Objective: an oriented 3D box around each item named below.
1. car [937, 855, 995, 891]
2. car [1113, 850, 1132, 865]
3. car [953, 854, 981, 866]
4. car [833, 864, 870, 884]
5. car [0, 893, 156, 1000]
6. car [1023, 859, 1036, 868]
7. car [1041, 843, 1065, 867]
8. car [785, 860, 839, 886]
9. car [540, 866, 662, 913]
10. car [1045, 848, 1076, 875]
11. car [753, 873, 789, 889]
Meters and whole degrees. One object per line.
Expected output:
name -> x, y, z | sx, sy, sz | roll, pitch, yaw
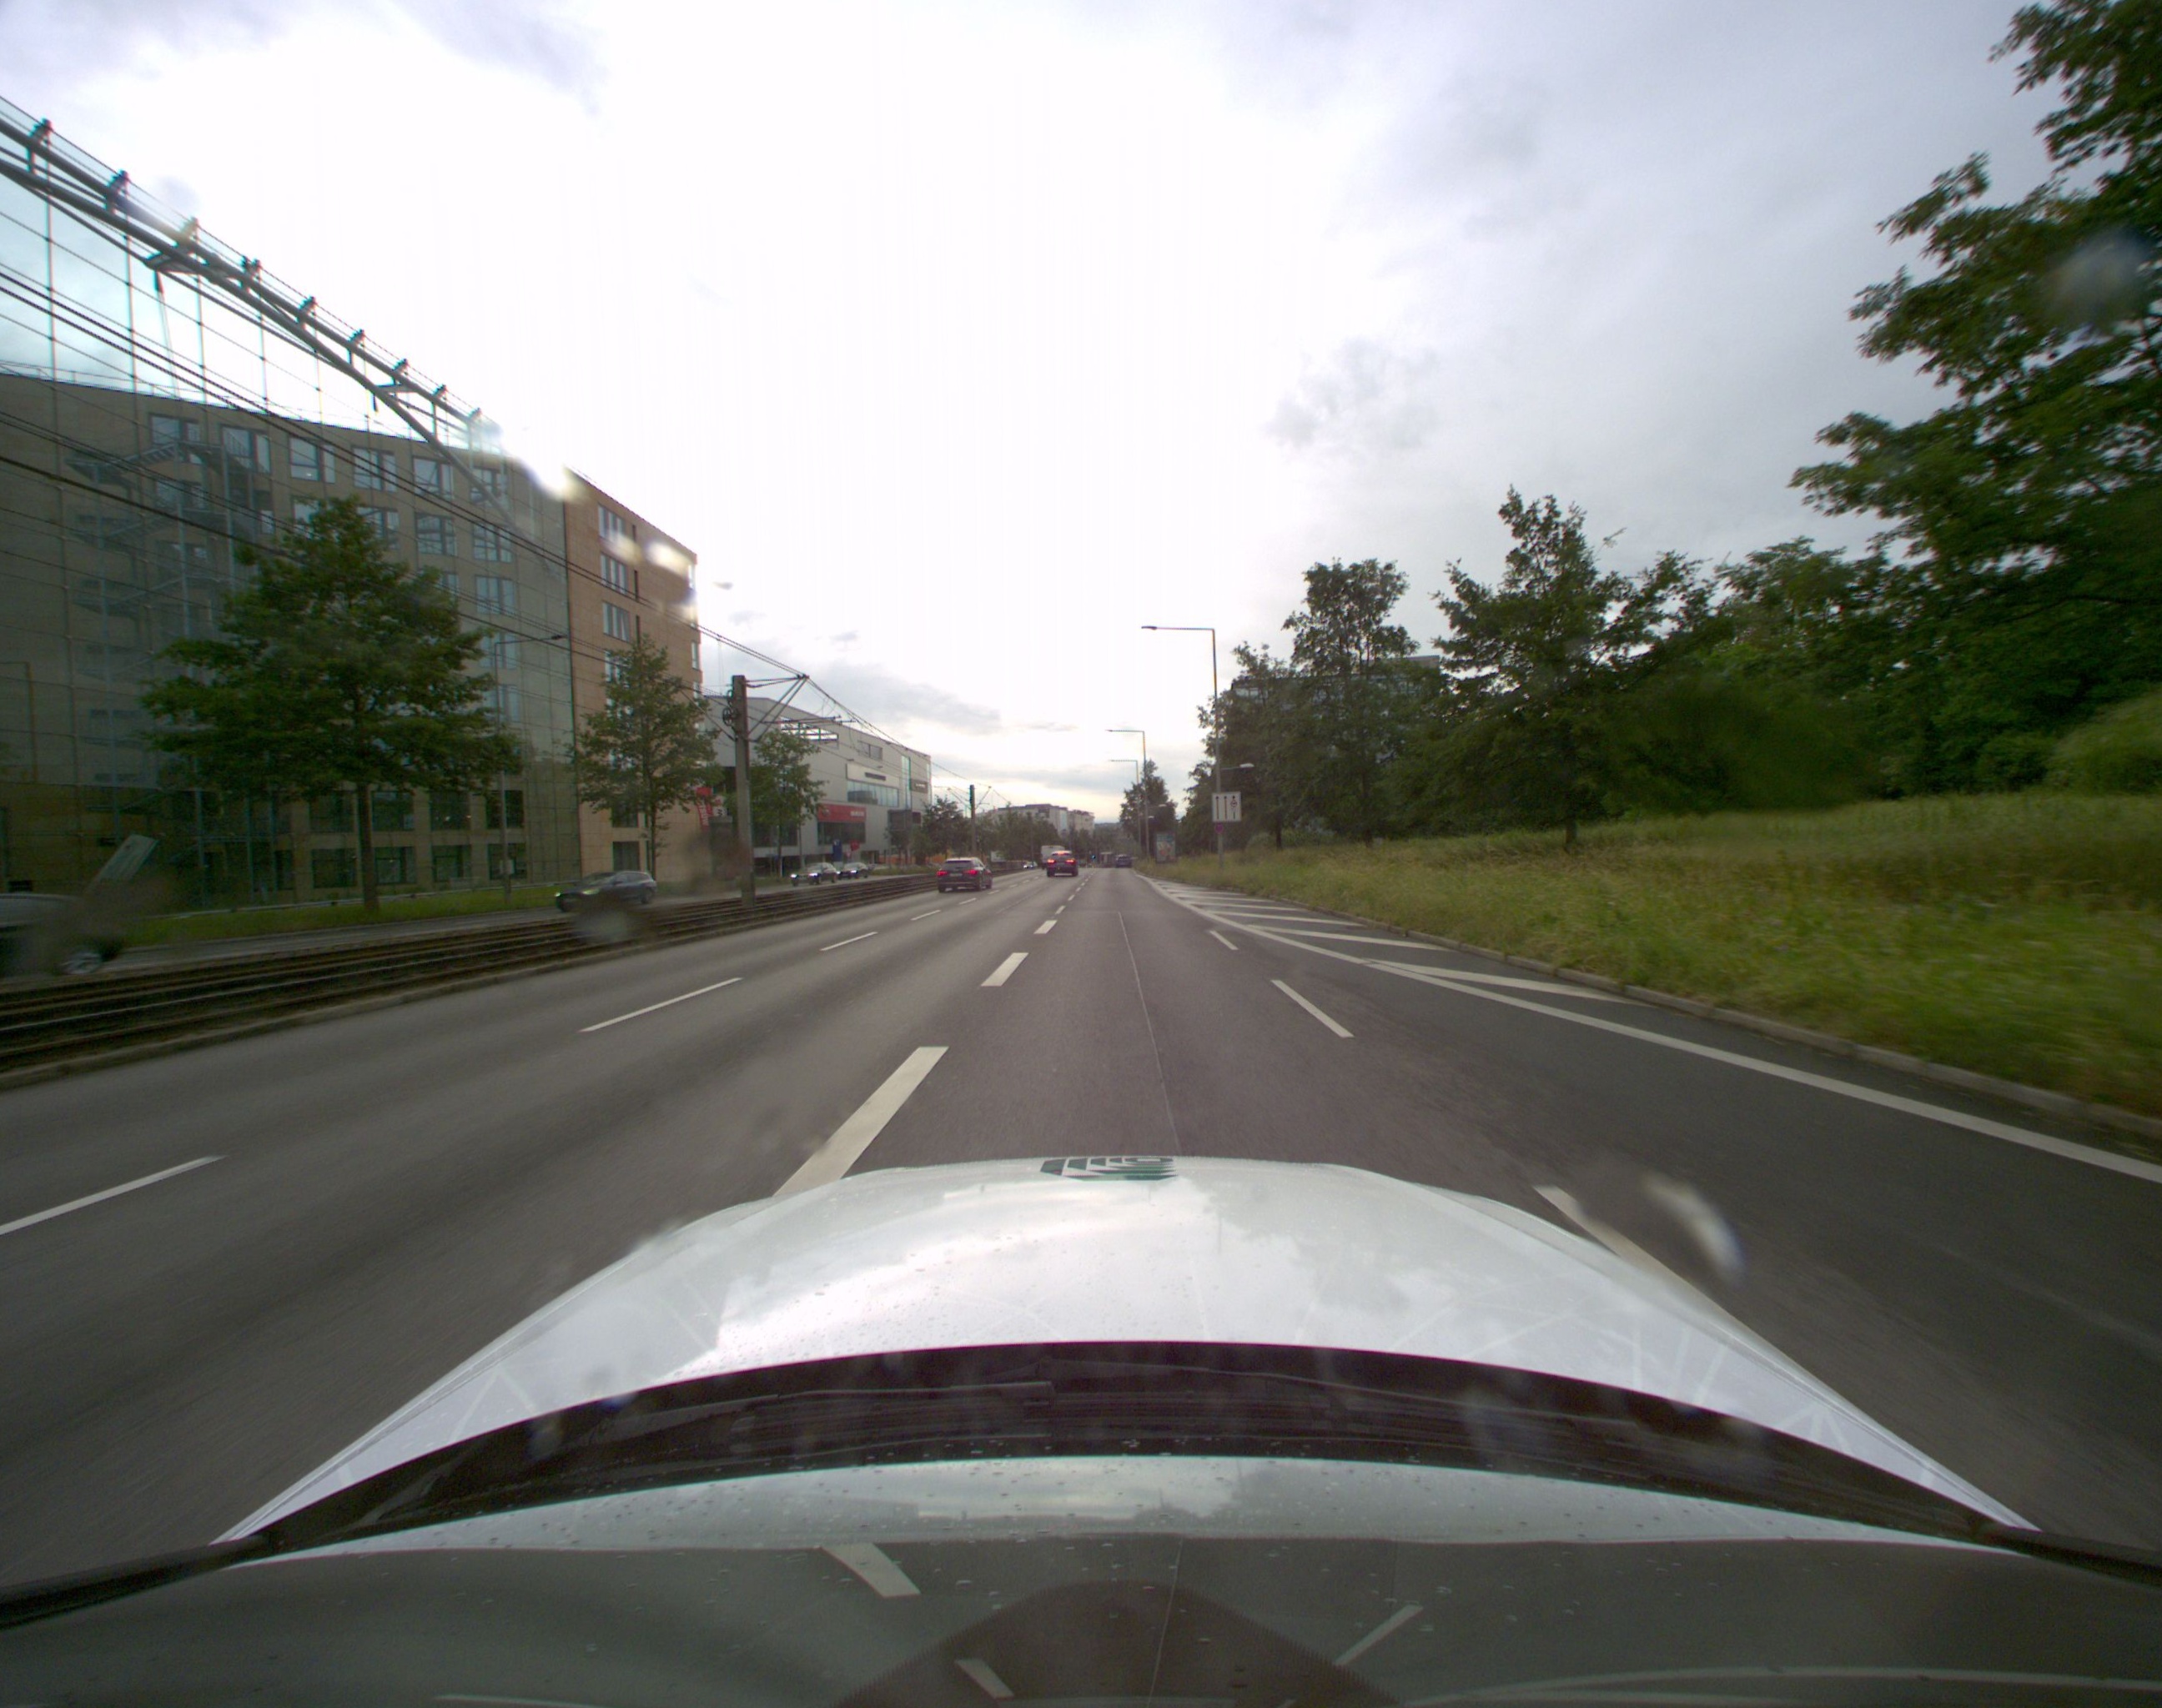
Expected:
car -> -4.923, 0.779, 35.444 | 1.780, 1.413, 4.805 | -1, 0, 0
car -> 4.795, 0.381, 94.128 | 1.784, 1.591, 3.997 | -2, -1, -2
car -> -22.268, 1.130, 159.375 | 5.296, 2.313, 2.015 | 0, -2, -6
car -> -20.329, 1.743, 72.293 | 1.834, 1.486, 4.432 | -5, 0, 2
car -> -16.431, 1.346, 11.486 | 1.764, 1.502, 4.203 | -1, -2, 4
car -> -8.919, 1.672, 140.858 | 1.650, 1.549, 4.006 | -1, -2, 6
car -> -2.691, 0.082, 79.078 | 2.261, 2.285, 4.757 | 0, 0, -1
car -> -17.982, 1.225, 54.657 | 1.834, 1.486, 4.656 | -5, 0, 2
car -> -18.936, 1.344, 32.405 | 1.834, 1.486, 4.656 | -5, 0, 2
car -> -1.333, 0.457, 53.249 | 1.917, 1.710, 4.095 | 0, 0, -2
car -> -35.130, 3.014, 92.528 | 1.985, 1.725, 4.944 | -1, -1, 3
